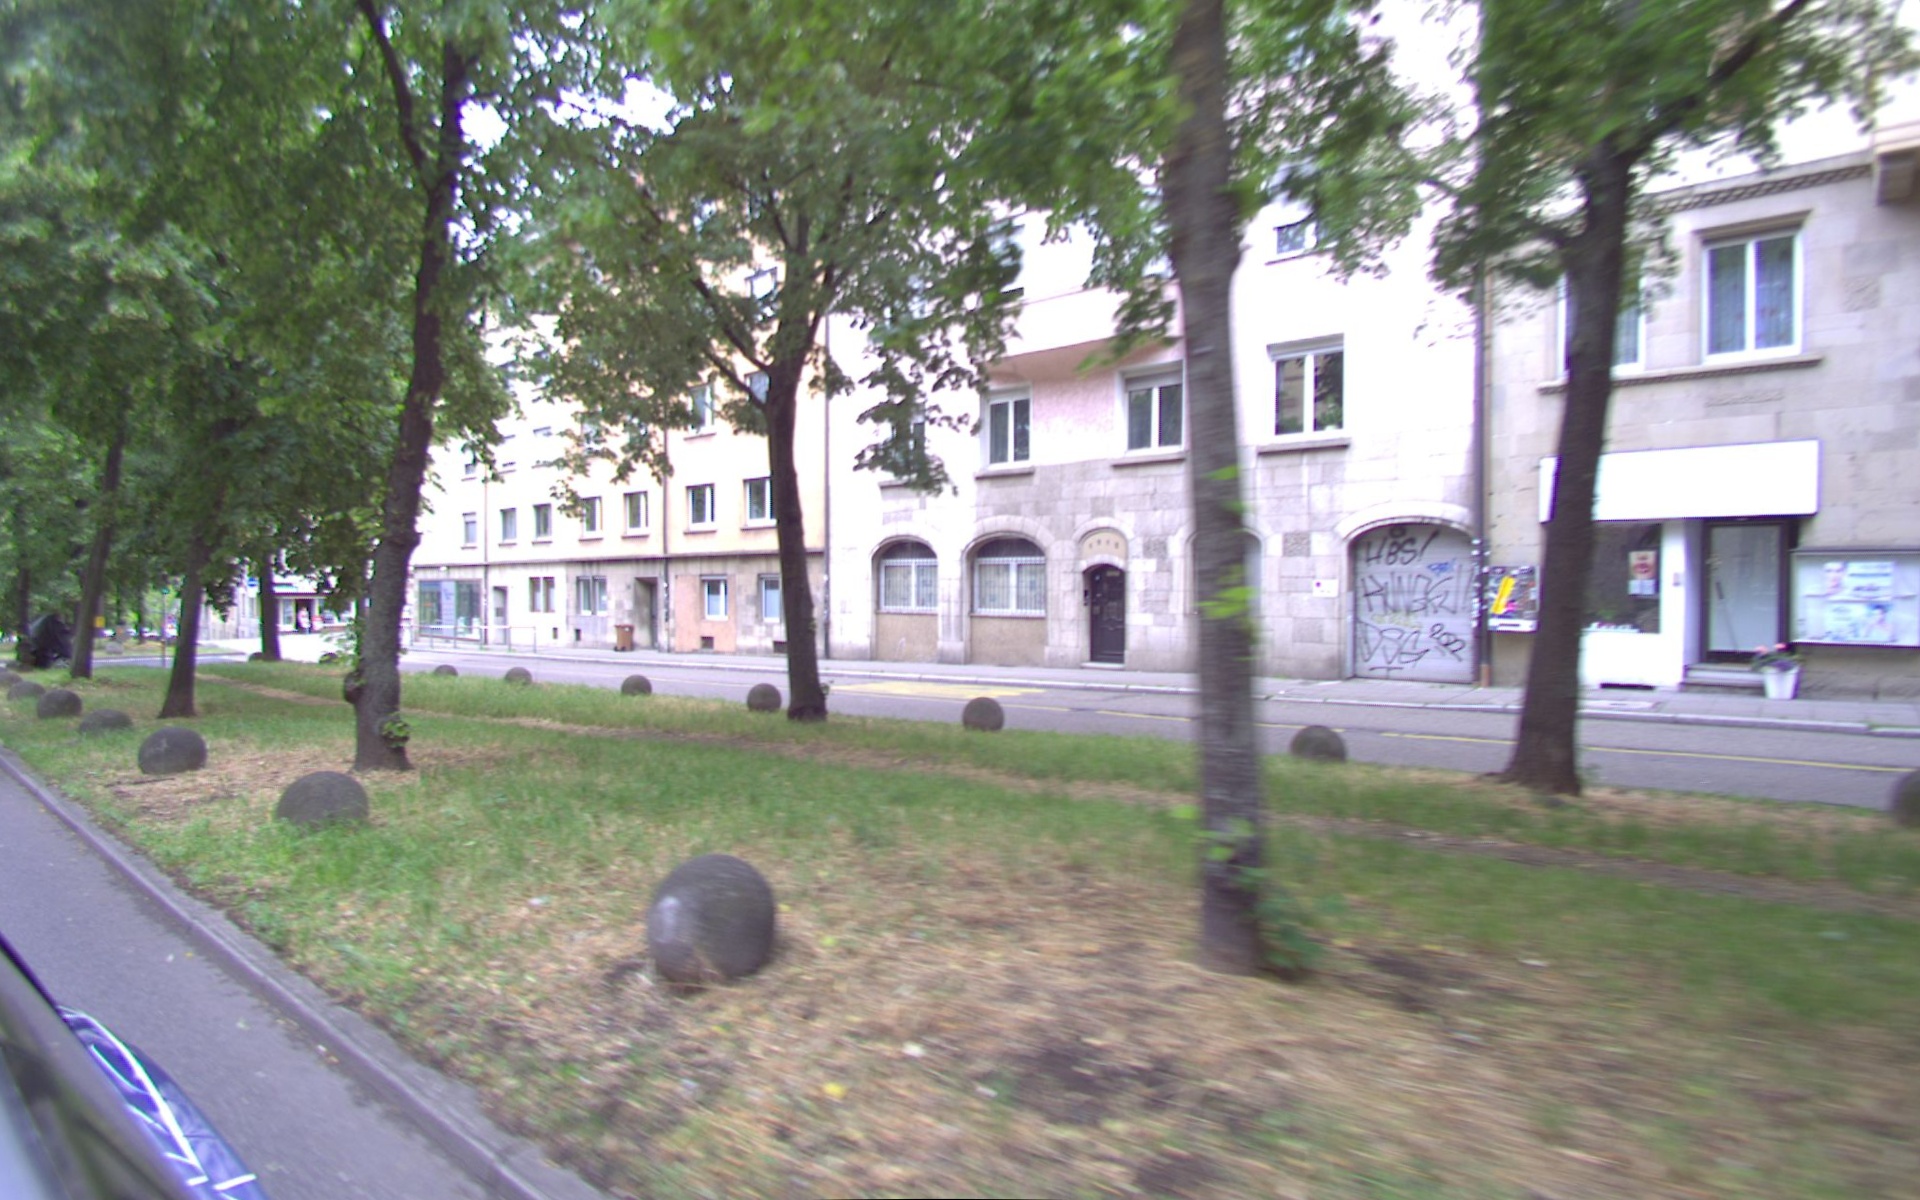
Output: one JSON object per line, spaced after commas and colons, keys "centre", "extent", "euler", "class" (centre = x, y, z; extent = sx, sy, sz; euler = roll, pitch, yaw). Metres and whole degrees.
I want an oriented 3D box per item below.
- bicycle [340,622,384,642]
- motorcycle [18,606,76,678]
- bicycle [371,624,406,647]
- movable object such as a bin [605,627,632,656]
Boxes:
{"centre": [-37.904, 2.022, 64.161], "extent": [2.310, 1.108, 0.777], "euler": [-2, 0, -29], "class": "bicycle"}
{"centre": [-21.905, 1.035, 24.262], "extent": [2.624, 1.542, 0.814], "euler": [-7, -6, 44], "class": "motorcycle"}
{"centre": [-30.779, 1.910, 54.455], "extent": [2.051, 1.158, 0.677], "euler": [-4, 0, 31], "class": "bicycle"}
{"centre": [-11.376, 1.388, 33.690], "extent": [0.779, 0.934, 0.507], "euler": [-2, 0, 43], "class": "movable object such as a bin"}
